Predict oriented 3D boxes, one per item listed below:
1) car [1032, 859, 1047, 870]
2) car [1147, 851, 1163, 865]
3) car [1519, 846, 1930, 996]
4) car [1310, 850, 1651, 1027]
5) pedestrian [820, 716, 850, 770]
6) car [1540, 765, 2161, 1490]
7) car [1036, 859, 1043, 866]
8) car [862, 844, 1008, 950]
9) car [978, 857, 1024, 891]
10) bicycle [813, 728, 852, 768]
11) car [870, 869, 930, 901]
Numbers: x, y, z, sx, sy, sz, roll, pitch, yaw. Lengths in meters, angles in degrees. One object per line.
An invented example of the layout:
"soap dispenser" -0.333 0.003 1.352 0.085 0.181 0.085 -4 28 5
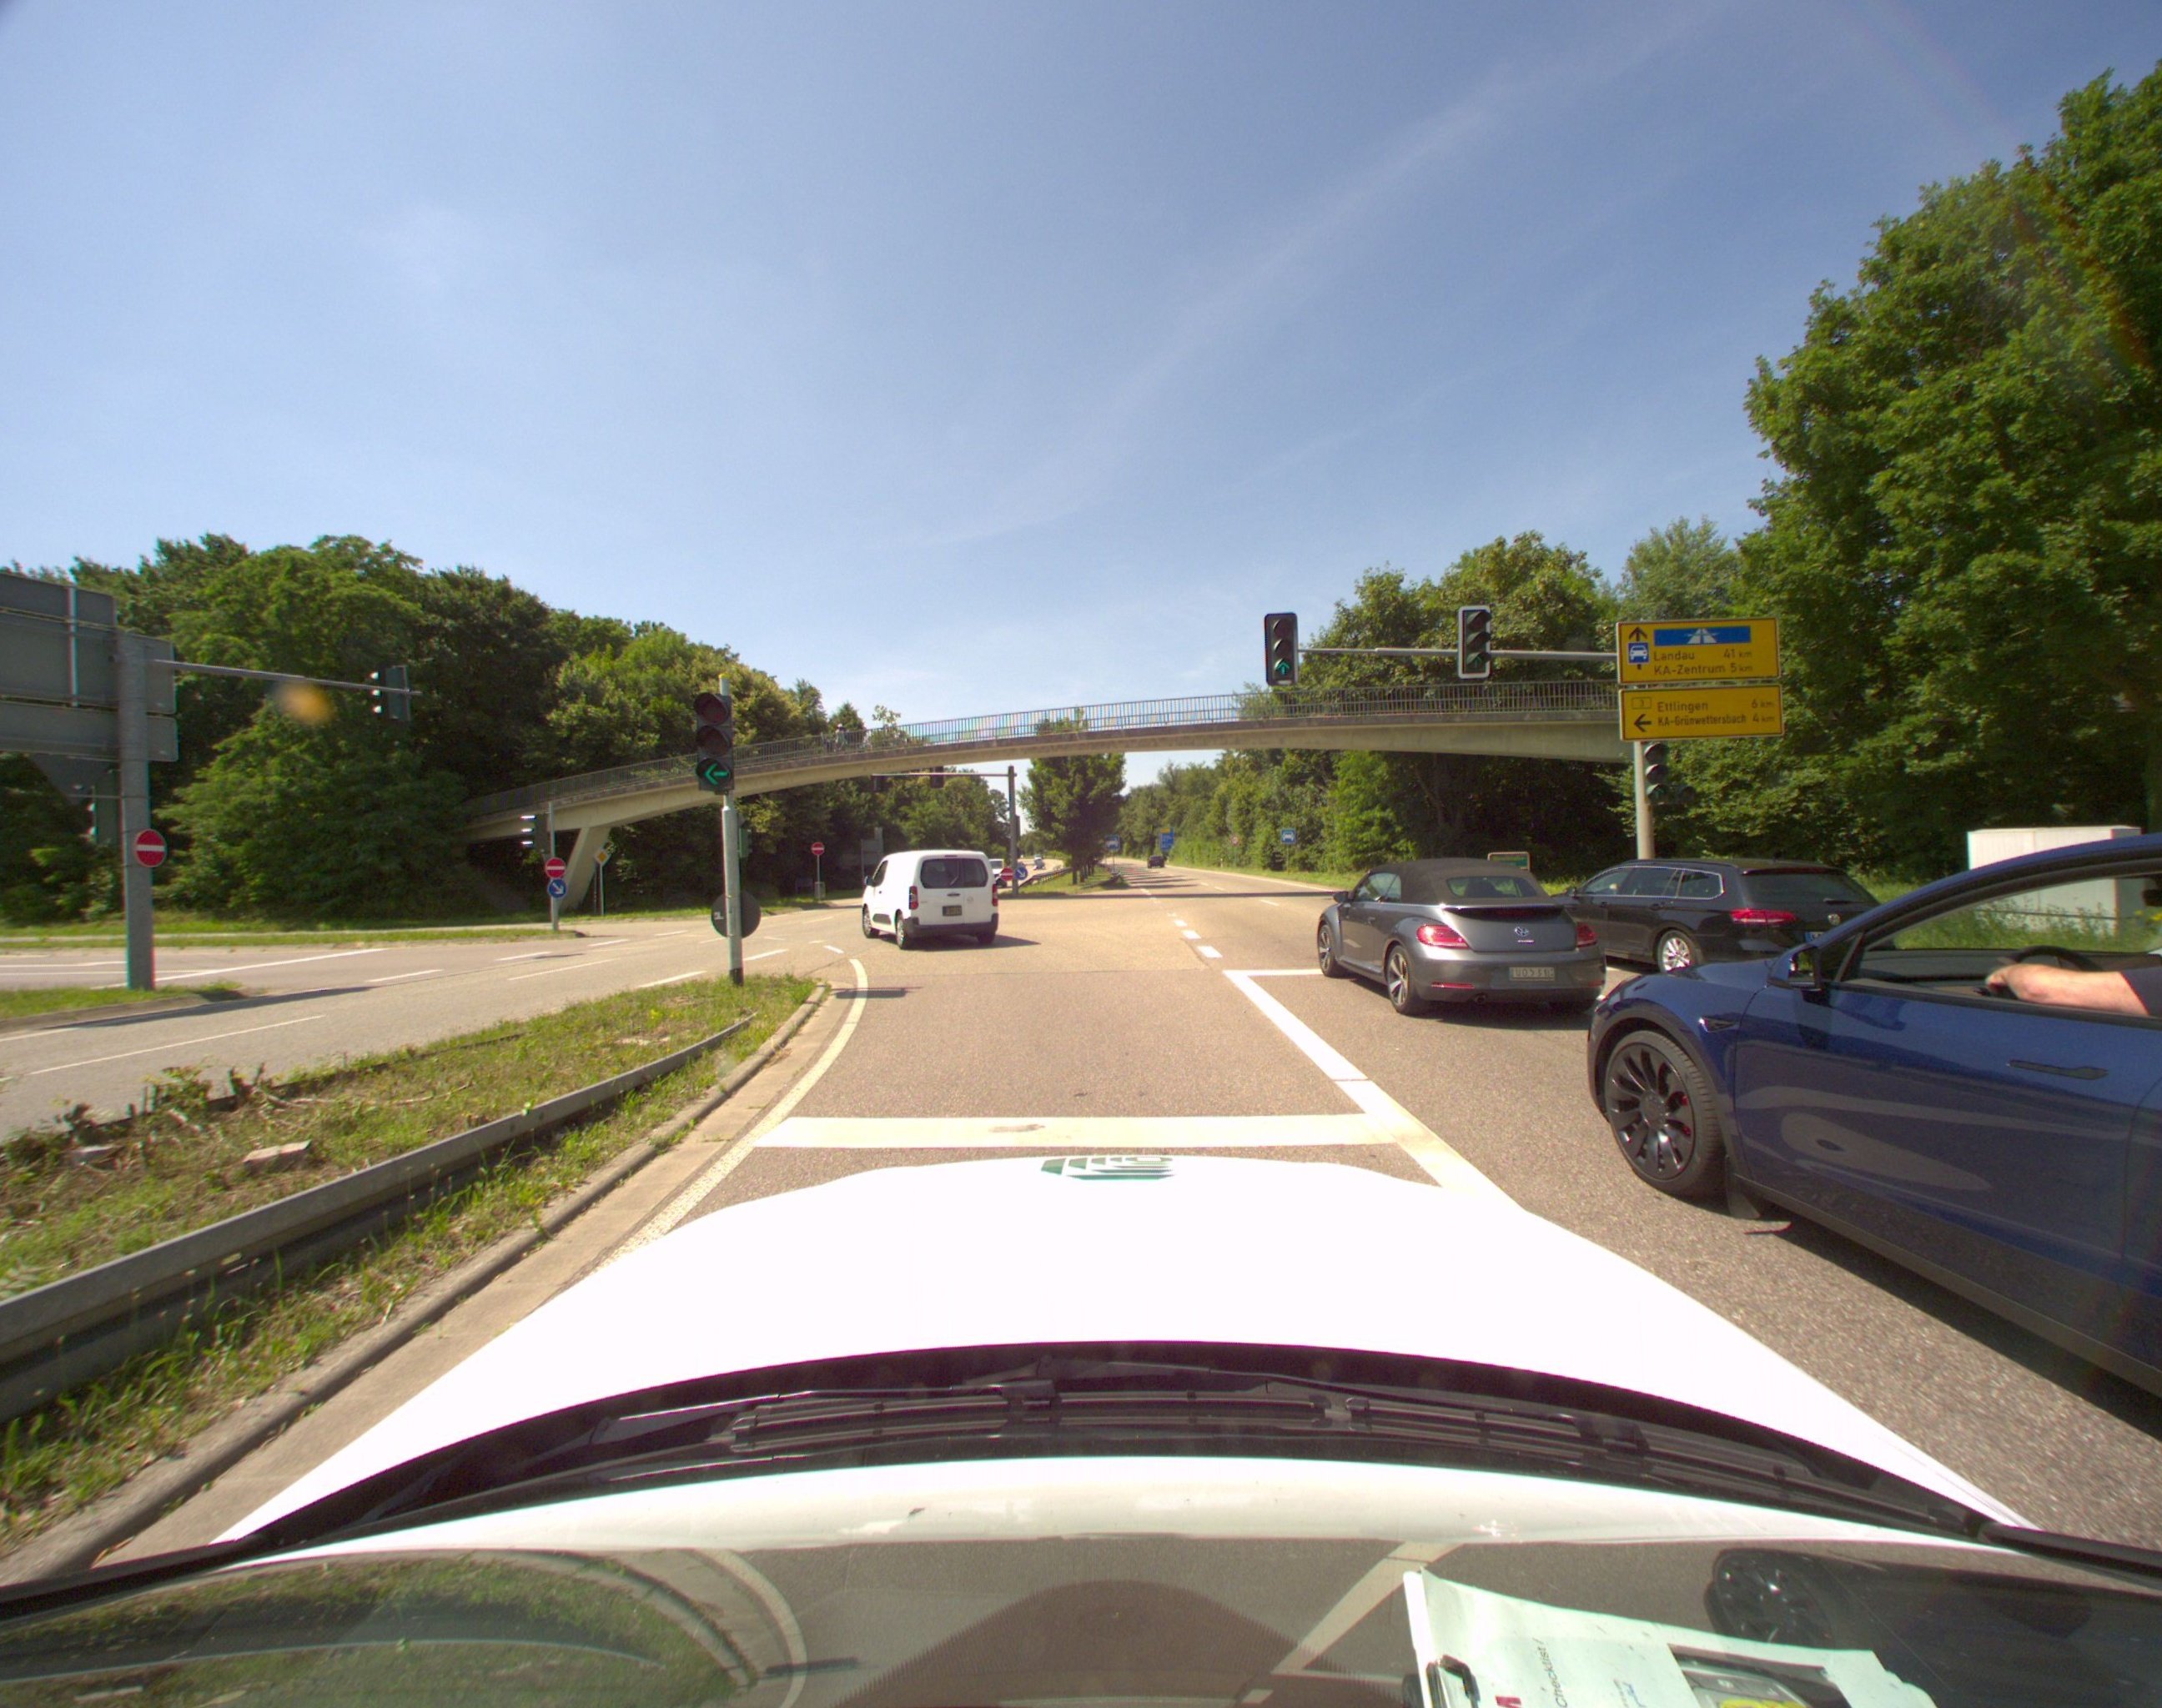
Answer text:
"car" -6.676 1.731 132.583 2.000 1.601 4.057 -4 -1 2
"car" 9.753 0.463 107.314 2.032 1.699 5.093 -2 0 5
"car" 7.613 0.682 10.346 1.893 1.478 4.383 -1 0 2
"car" 3.927 0.721 8.853 1.893 1.478 3.941 -1 0 2
"pedestrian" -10.617 -4.781 35.160 0.776 2.140 0.936 -4 -2 18
"car" 3.400 0.612 2.164 1.893 1.644 4.521 -1 0 1
"car" -11.486 2.290 223.984 1.989 1.750 3.994 -1 -1 -4
"car" -3.047 0.795 16.280 1.859 1.826 3.947 -1 -1 -26
"car" -5.279 1.287 54.387 2.200 1.993 5.491 -4 -1 2
"bicycle" -10.596 -4.506 34.755 1.514 1.474 0.472 -4 -2 18
"car" -9.381 1.583 42.495 2.000 1.460 4.057 -4 -1 2
